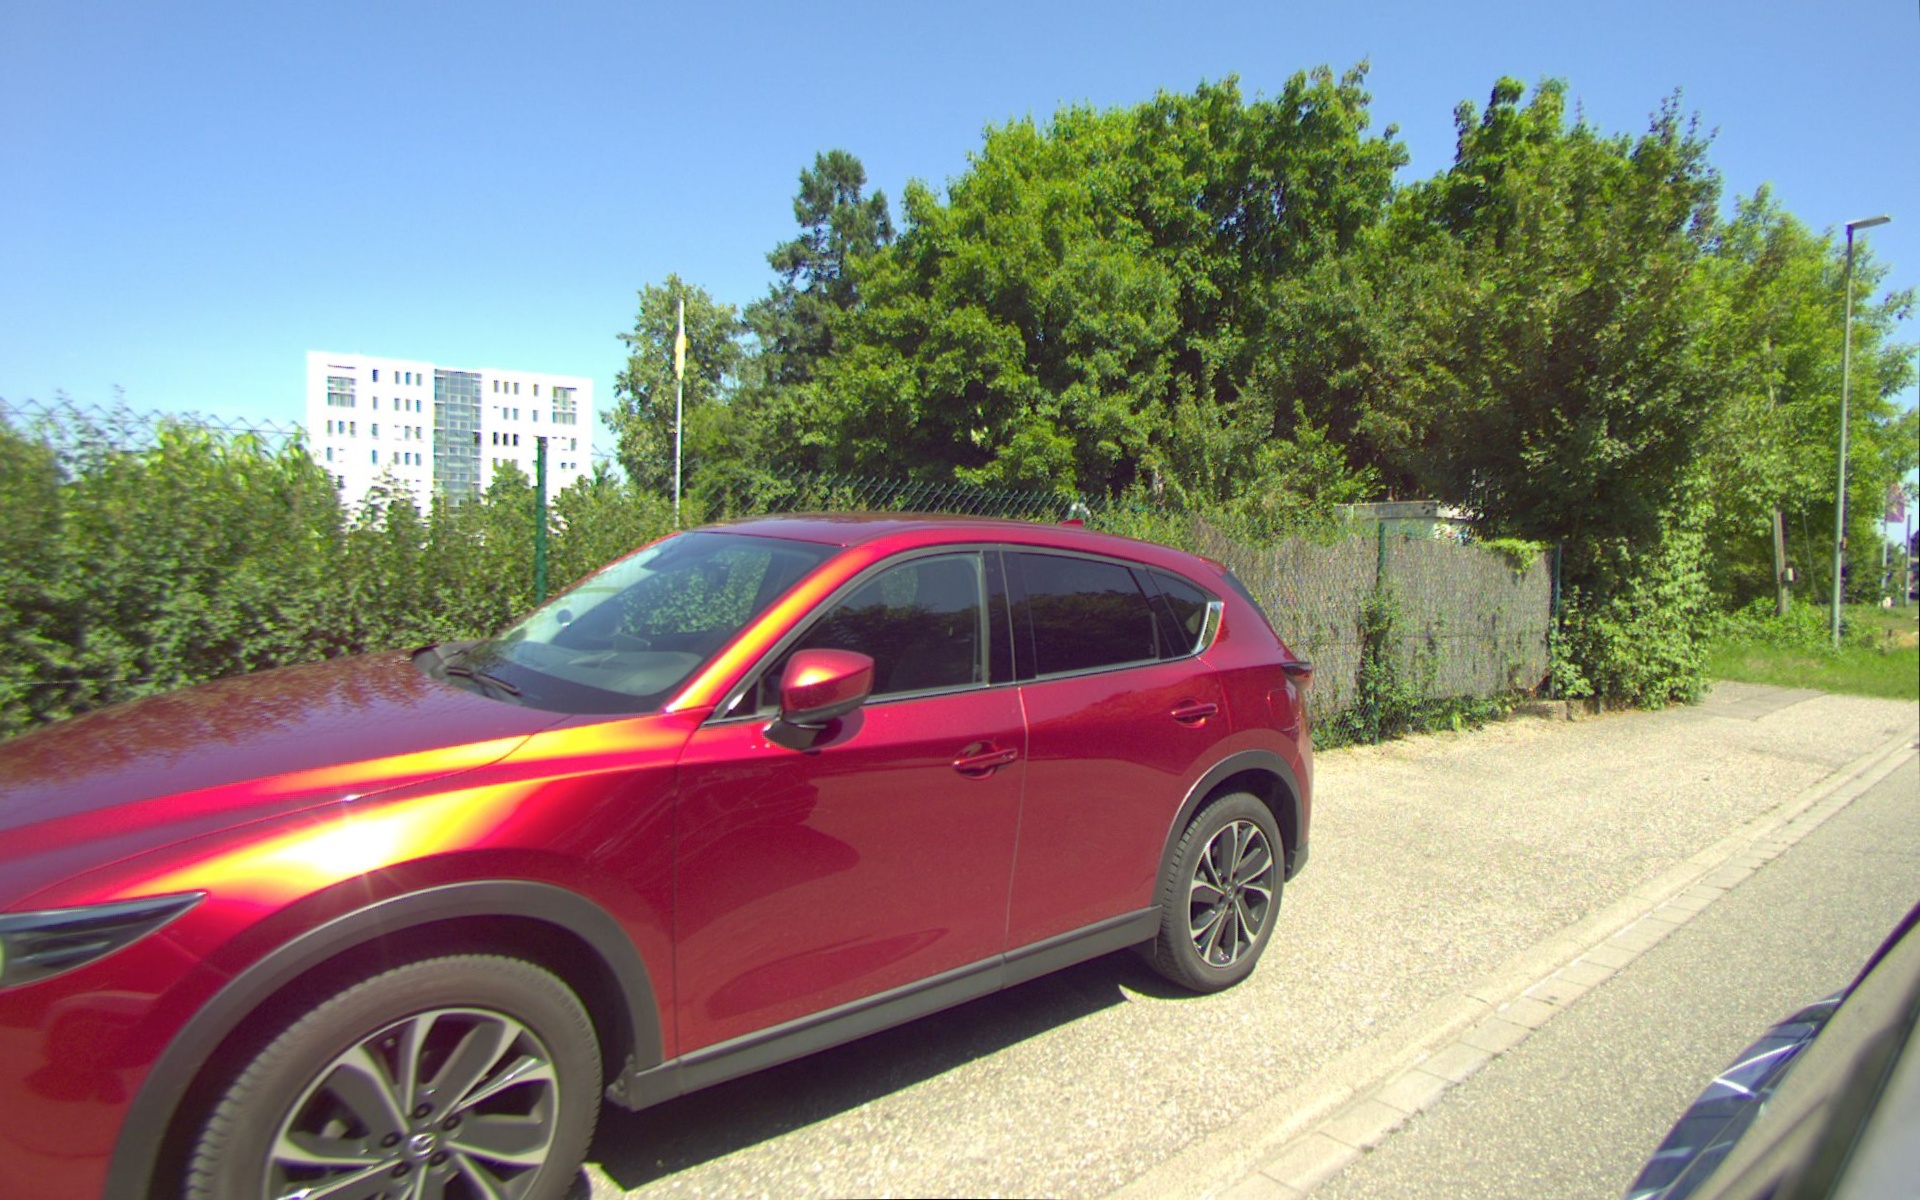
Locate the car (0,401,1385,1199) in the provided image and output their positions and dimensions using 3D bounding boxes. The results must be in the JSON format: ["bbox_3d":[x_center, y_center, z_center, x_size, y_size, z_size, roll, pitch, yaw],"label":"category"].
[{"bbox_3d":[-0.604,0.468,3.357,4.373,1.678,1.795,0,5,-40],"label":"car"}]
